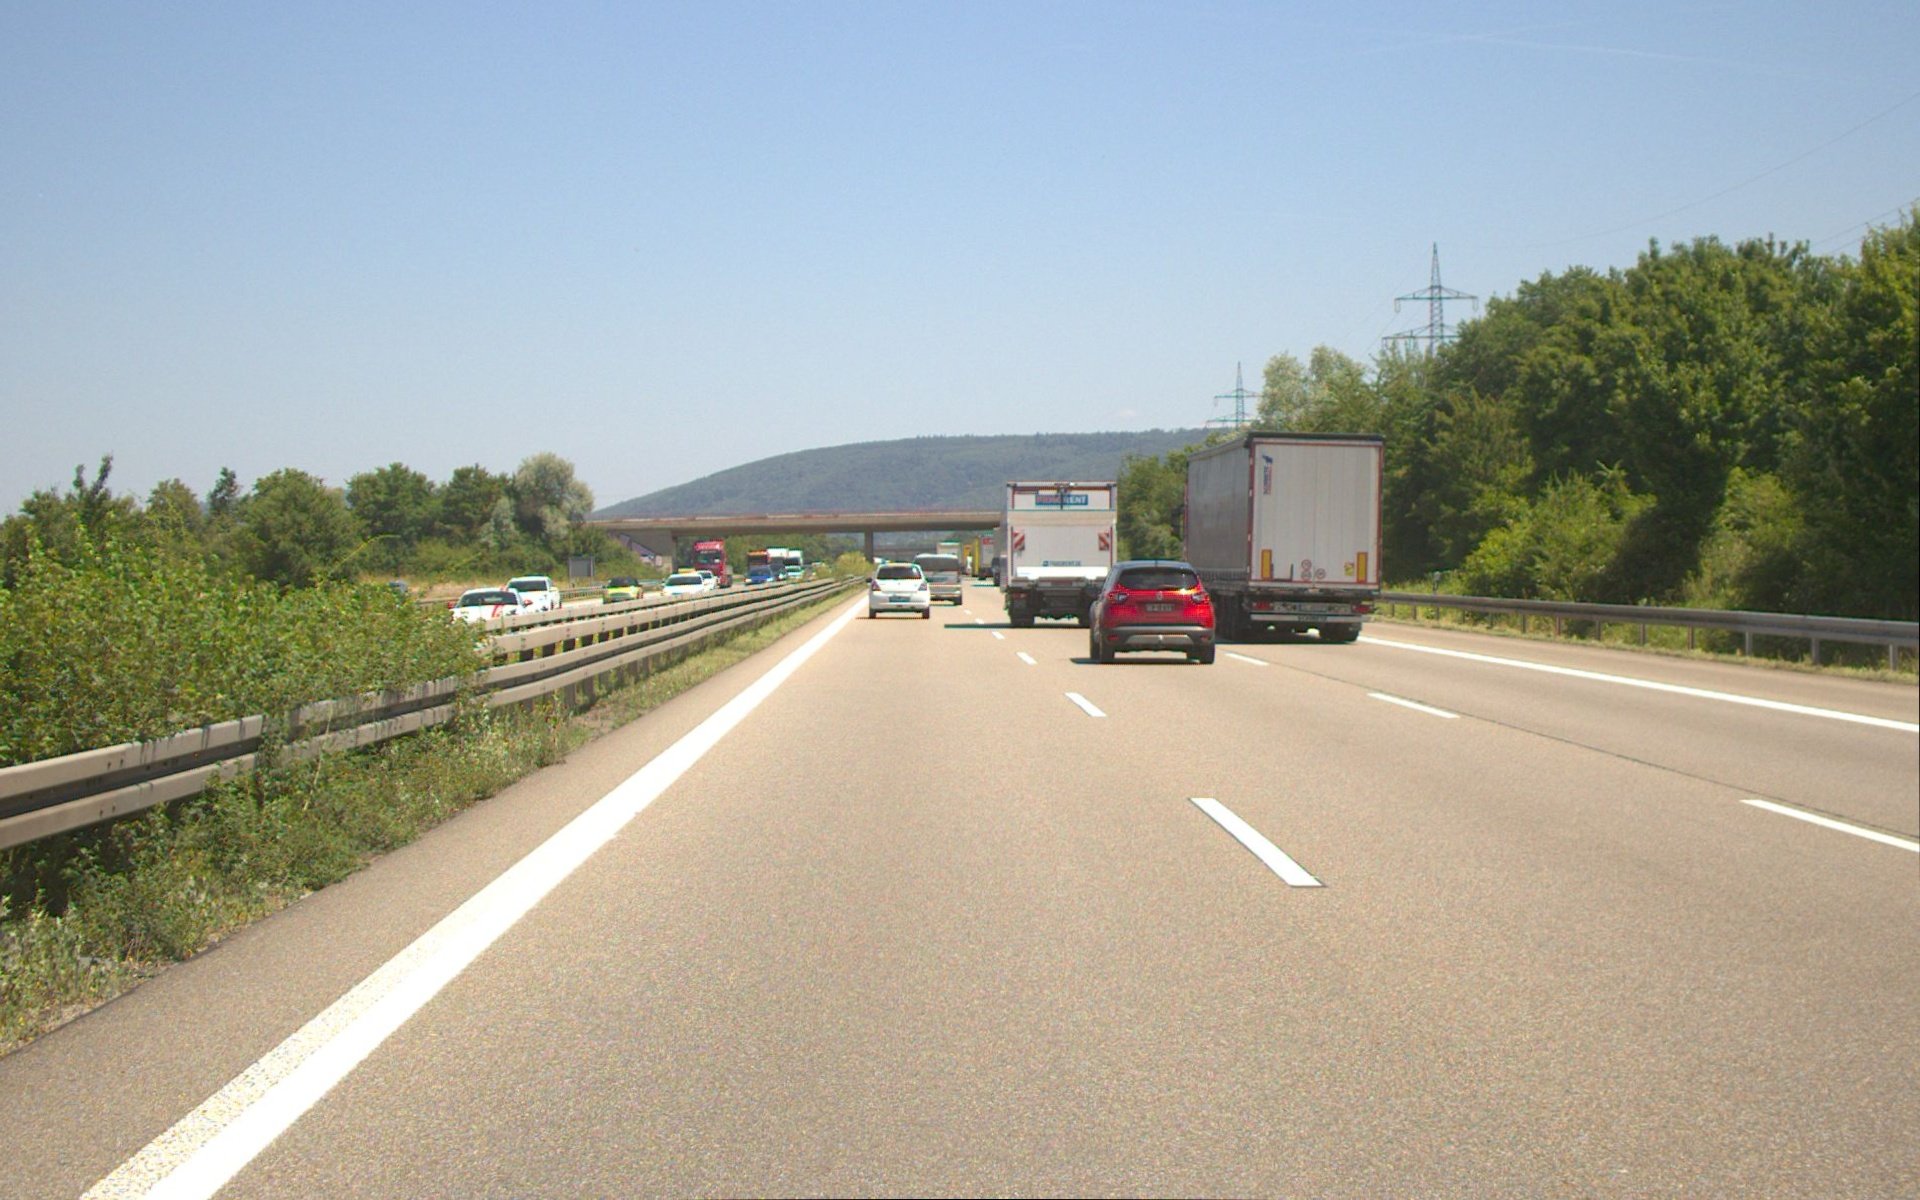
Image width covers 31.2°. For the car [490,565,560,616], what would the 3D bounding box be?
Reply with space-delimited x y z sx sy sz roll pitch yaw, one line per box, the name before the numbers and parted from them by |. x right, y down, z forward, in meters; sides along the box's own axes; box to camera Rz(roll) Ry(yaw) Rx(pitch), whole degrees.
car | -14.596 -0.332 115.575 1.835 1.579 3.889 -2 1 -1

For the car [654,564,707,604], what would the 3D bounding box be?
car | -11.204 -0.651 138.129 1.795 1.487 4.238 -2 1 -1

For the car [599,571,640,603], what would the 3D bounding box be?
car | -16.096 -0.642 162.661 1.582 1.423 3.477 -2 1 -1

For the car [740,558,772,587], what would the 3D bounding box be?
car | -12.657 -1.703 213.839 1.767 1.744 3.986 -2 1 -1

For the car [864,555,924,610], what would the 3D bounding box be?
car | -1.821 -0.498 95.449 1.607 1.462 4.000 -1 1 0

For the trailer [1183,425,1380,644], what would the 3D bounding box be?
trailer | 6.583 -1.332 72.492 2.789 4.149 13.575 0 1 0

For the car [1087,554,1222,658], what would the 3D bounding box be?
car | 2.972 0.072 53.169 1.803 1.540 4.000 0 1 -1

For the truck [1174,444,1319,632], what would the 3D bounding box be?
truck | 6.527 -1.415 79.131 2.795 4.149 5.723 0 1 0

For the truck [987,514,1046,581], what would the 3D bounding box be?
truck | 3.817 -3.581 236.352 3.520 4.401 14.592 -1 1 -1

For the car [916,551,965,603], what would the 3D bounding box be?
car | -0.715 -0.866 126.926 1.761 1.844 4.000 -1 1 0

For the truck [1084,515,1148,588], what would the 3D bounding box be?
truck | 7.096 -2.229 157.286 2.221 3.198 10.385 -1 1 -1

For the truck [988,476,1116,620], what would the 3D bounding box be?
truck | 2.190 -1.255 84.459 2.782 3.361 8.128 0 1 -1

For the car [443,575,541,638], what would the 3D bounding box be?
car | -10.710 0.140 78.890 1.688 1.310 4.084 -3 1 -1
